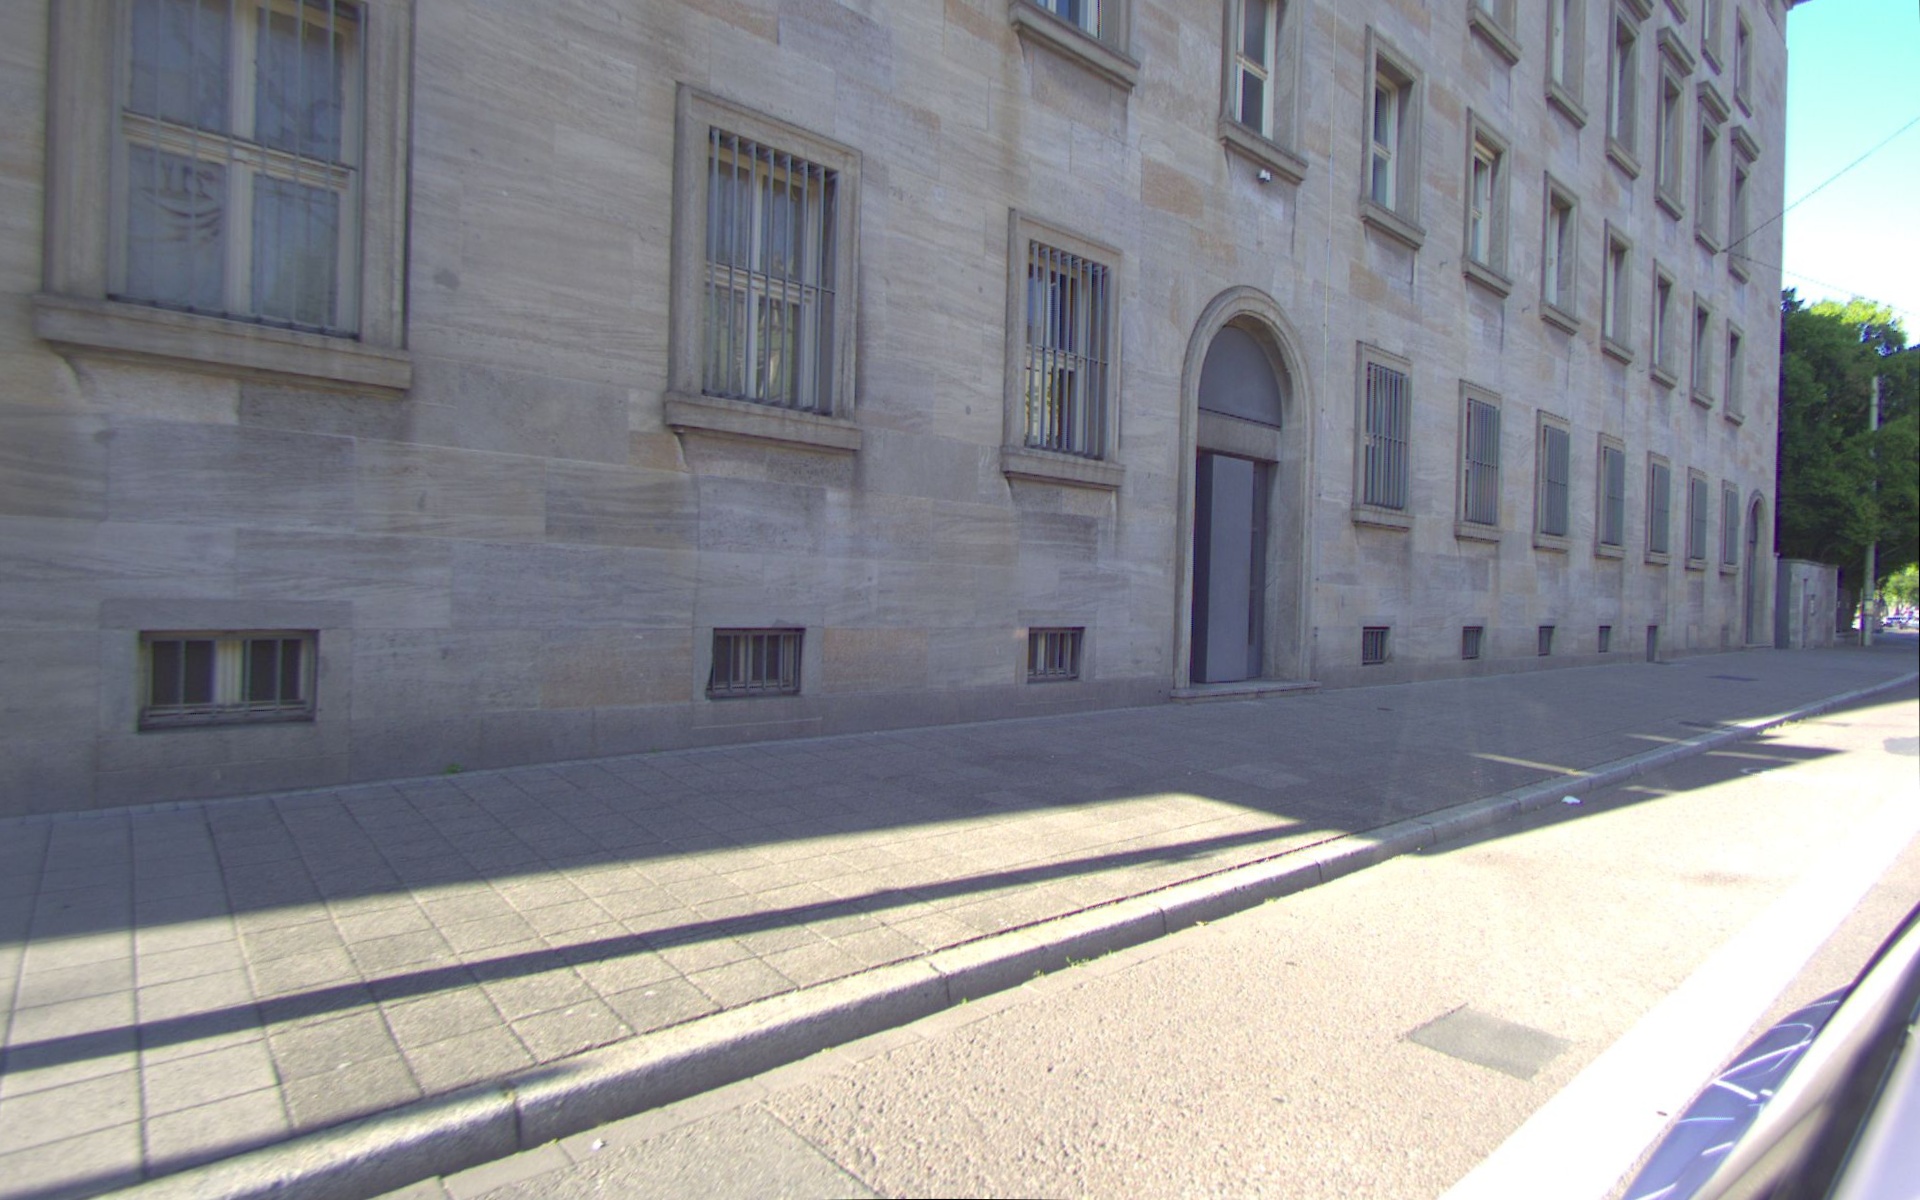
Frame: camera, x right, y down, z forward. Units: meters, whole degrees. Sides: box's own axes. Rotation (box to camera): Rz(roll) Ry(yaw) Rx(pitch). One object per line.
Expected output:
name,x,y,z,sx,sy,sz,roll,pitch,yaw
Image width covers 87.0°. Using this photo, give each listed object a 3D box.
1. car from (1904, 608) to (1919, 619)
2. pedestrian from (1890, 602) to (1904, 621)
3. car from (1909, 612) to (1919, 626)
car,143.671,2.016,151.100,3.742,1.614,1.654,-1,-1,31
pedestrian,87.183,1.050,94.184,0.791,1.742,0.870,1,0,-44
car,110.518,2.228,115.892,1.863,1.621,4.376,2,1,32
